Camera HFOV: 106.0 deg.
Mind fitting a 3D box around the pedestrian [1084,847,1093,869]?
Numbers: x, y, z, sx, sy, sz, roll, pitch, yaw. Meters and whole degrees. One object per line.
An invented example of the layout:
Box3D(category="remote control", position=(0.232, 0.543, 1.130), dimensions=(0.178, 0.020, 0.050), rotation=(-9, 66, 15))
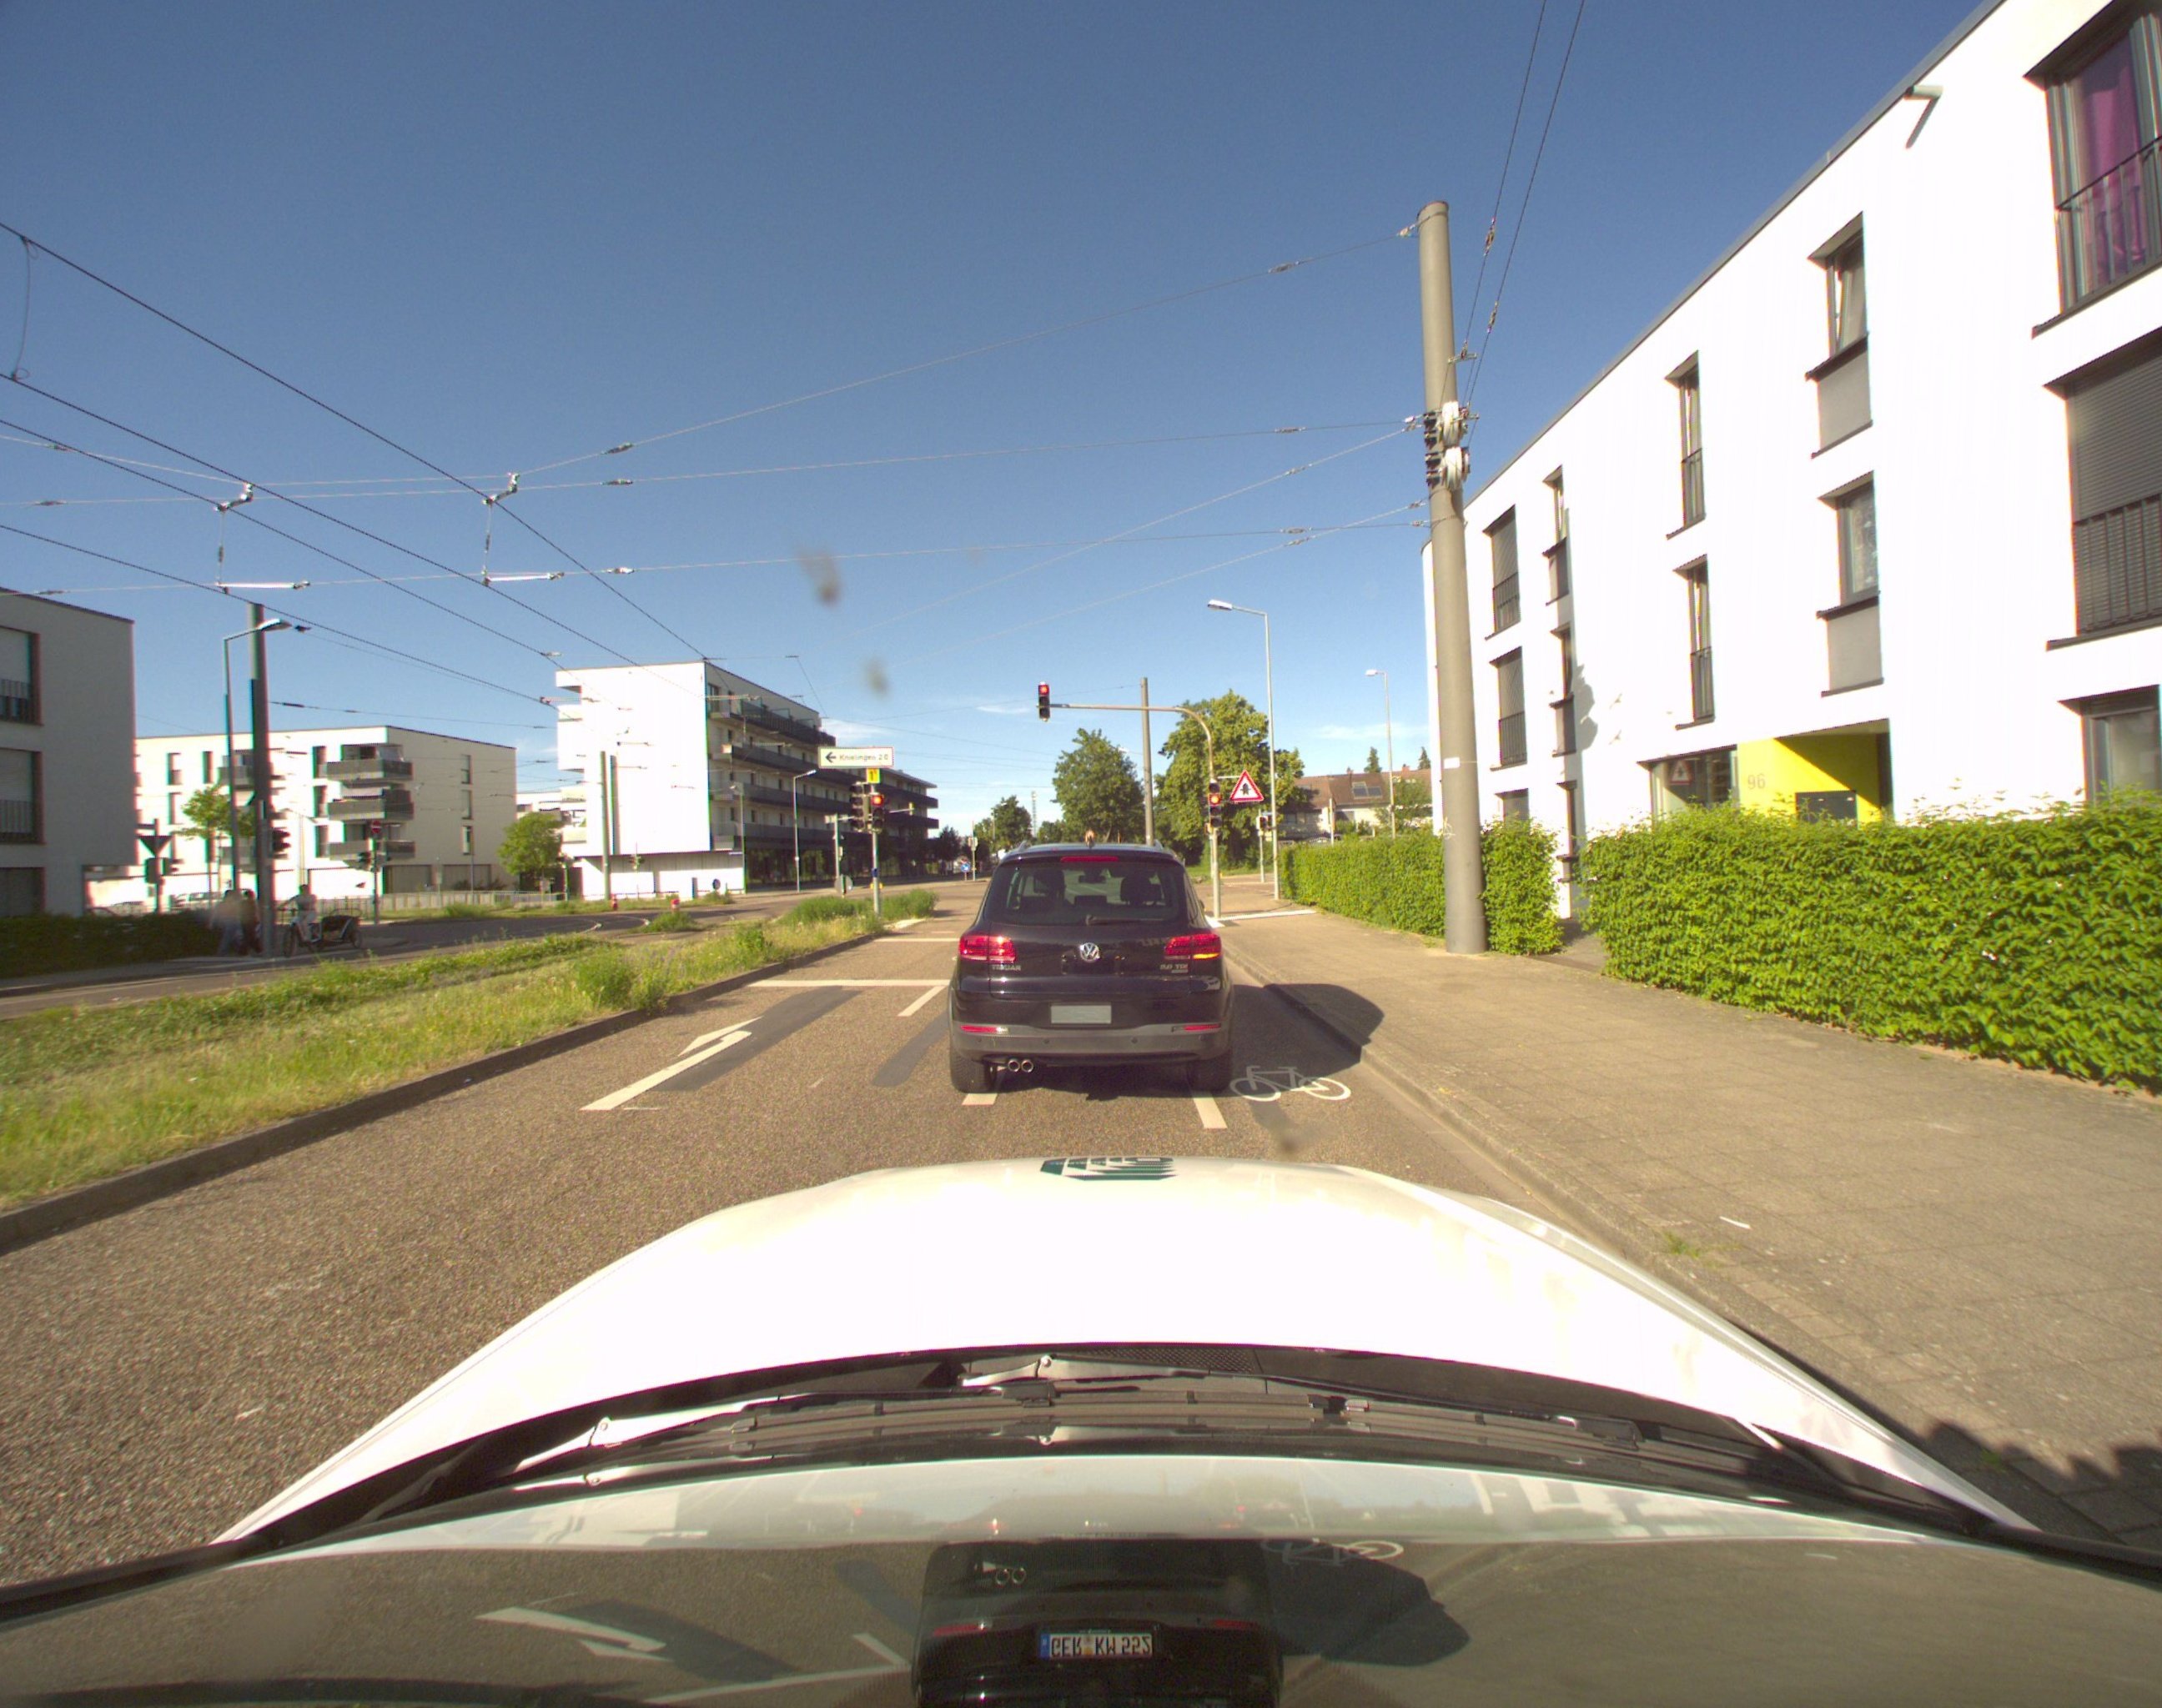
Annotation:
Box3D(category="pedestrian", position=(0.572, 0.292, 59.259), dimensions=(0.600, 1.565, 0.530), rotation=(-1, 0, 6))

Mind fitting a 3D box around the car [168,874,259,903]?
Box3D(category="car", position=(-58.716, 2.324, 55.199), dimensions=(3.974, 1.838, 2.000), rotation=(-1, 0, 0))

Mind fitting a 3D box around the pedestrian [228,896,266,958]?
Box3D(category="pedestrian", position=(-20.816, 1.801, 20.339), dimensions=(0.561, 1.464, 0.605), rotation=(-1, 0, -36))

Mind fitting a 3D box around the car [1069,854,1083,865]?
Box3D(category="car", position=(-0.678, 0.673, 105.836), dimensions=(1.745, 1.387, 4.000), rotation=(-1, 0, 0))

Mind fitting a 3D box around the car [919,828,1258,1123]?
Box3D(category="car", position=(0.066, 0.688, 6.630), dimensions=(1.899, 1.643, 4.000), rotation=(-1, 0, 0))

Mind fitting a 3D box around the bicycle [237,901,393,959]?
Box3D(category="bicycle", position=(-19.868, 1.933, 21.321), dimensions=(0.995, 1.174, 3.684), rotation=(1, 0, -8))

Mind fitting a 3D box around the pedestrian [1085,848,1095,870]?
Box3D(category="pedestrian", position=(0.662, 0.377, 59.866), dimensions=(0.600, 1.640, 0.530), rotation=(-1, 0, 6))

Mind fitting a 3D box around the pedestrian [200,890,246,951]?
Box3D(category="pedestrian", position=(-21.579, 1.664, 20.491), dimensions=(0.560, 1.464, 0.736), rotation=(-1, 0, -26))

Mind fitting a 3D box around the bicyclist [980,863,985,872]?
Box3D(category="bicyclist", position=(-12.482, 1.705, 103.641), dimensions=(0.472, 1.223, 0.713), rotation=(-1, 0, 5))

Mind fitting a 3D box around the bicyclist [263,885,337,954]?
Box3D(category="bicyclist", position=(-19.743, 1.637, 20.605), dimensions=(0.972, 1.630, 0.910), rotation=(-1, 0, -8))

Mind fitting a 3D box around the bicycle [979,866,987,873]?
Box3D(category="bicycle", position=(-12.468, 1.966, 103.778), dimensions=(0.493, 0.848, 2.082), rotation=(-1, 0, 6))
